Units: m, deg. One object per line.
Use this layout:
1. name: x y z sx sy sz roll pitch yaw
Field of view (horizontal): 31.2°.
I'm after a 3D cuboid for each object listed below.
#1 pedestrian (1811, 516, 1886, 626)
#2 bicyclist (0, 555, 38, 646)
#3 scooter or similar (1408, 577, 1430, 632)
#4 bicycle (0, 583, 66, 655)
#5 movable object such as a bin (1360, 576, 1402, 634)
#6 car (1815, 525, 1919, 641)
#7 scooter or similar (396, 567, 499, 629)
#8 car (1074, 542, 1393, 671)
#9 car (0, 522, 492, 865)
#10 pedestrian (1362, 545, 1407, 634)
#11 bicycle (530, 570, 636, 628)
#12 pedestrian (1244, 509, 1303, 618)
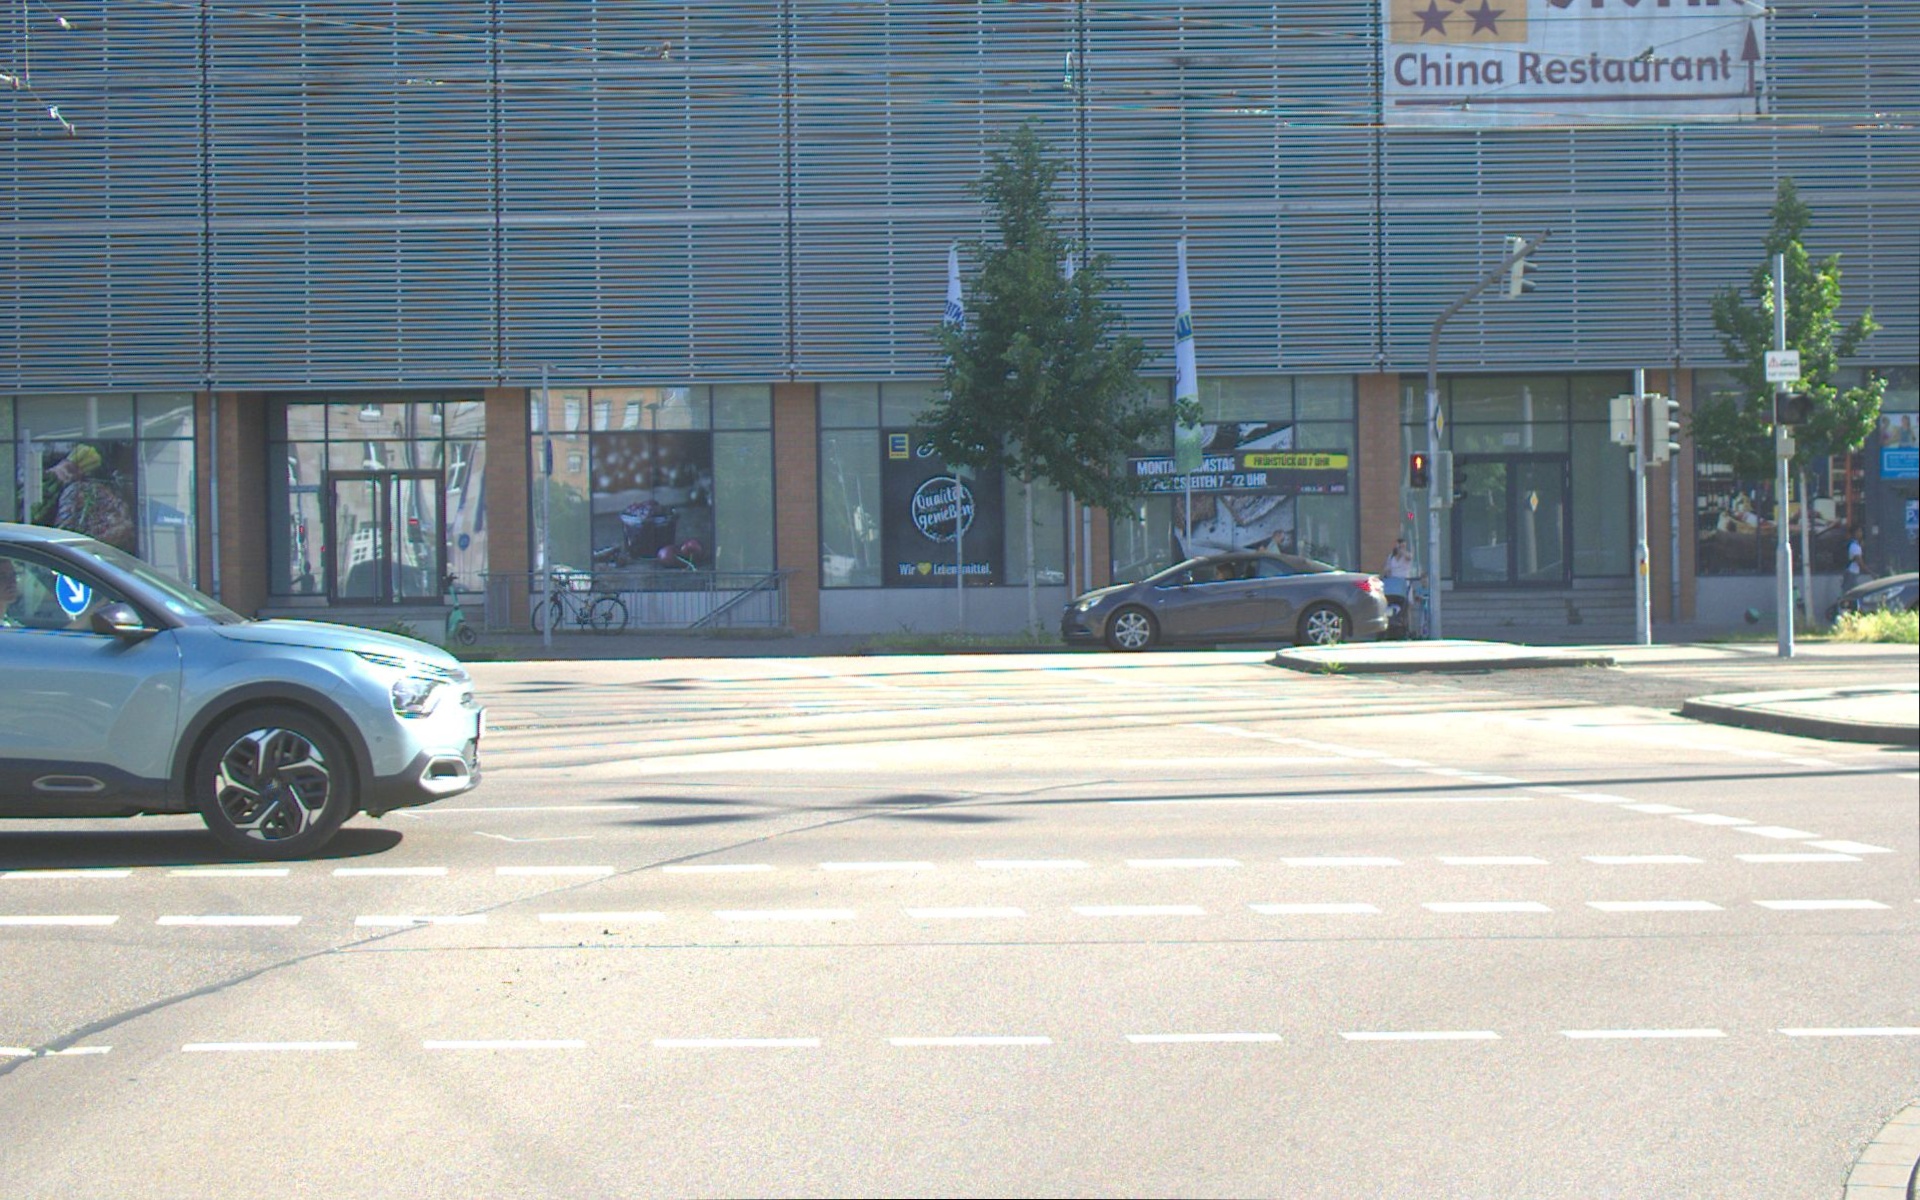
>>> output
1. pedestrian: 15.136 -0.503 58.585 1.012 1.822 1.035 -2 1 3
2. bicyclist: -15.276 0.003 54.785 0.675 1.422 0.847 1 3 43
3. scooter or similar: 7.354 0.075 55.096 0.295 0.870 1.003 1 0 10
4. bicycle: -15.242 0.312 54.865 0.568 1.082 1.859 1 3 43
5. movable object such as a bin: 6.715 0.079 54.812 0.613 0.901 0.968 1 0 10
6. car: 13.757 -0.143 45.851 4.146 1.464 1.841 3 0 -1
7. scooter or similar: -9.076 -0.045 60.930 1.792 1.062 0.613 0 2 -8
8. car: 3.842 0.086 48.879 4.289 1.578 1.841 3 0 -1
9. car: -4.357 0.396 15.946 4.263 1.508 1.709 0 1 -5
10. pedestrian: 6.834 -0.177 55.273 0.655 1.409 0.849 1 0 10
11. bicycle: -6.646 -0.016 60.547 1.815 0.986 0.558 -1 2 -10
12. pedestrian: 5.435 -0.621 59.593 0.950 1.822 0.845 -2 -3 5
